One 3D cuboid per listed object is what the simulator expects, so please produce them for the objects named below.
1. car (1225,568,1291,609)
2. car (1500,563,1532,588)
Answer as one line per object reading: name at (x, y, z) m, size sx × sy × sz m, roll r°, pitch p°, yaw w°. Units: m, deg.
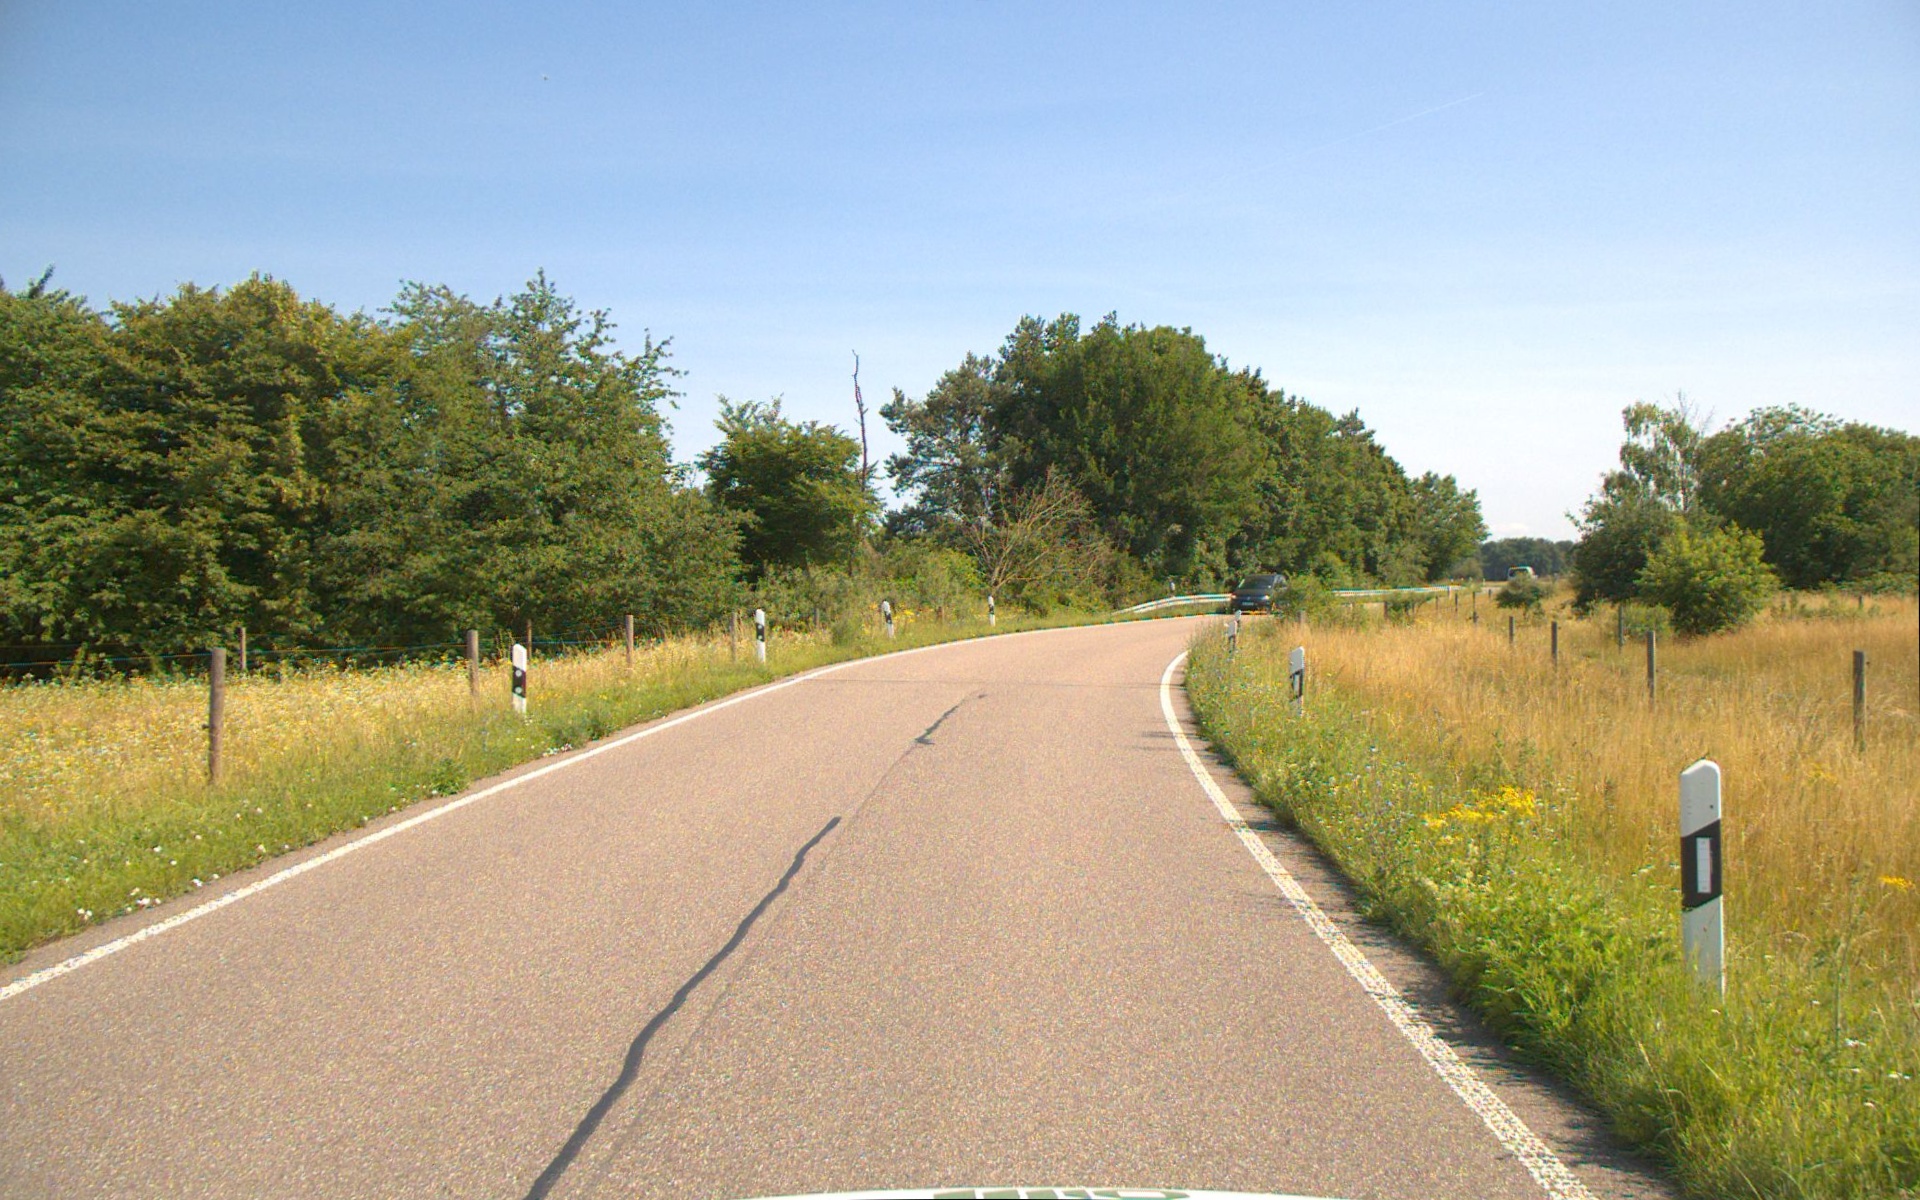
car at (12.530, -0.462, 69.406) m, size 1.748 × 1.660 × 4.158 m, roll 1°, pitch 0°, yaw 25°
car at (43.789, -1.919, 130.199) m, size 1.923 × 1.834 × 4.157 m, roll 1°, pitch 0°, yaw 25°
